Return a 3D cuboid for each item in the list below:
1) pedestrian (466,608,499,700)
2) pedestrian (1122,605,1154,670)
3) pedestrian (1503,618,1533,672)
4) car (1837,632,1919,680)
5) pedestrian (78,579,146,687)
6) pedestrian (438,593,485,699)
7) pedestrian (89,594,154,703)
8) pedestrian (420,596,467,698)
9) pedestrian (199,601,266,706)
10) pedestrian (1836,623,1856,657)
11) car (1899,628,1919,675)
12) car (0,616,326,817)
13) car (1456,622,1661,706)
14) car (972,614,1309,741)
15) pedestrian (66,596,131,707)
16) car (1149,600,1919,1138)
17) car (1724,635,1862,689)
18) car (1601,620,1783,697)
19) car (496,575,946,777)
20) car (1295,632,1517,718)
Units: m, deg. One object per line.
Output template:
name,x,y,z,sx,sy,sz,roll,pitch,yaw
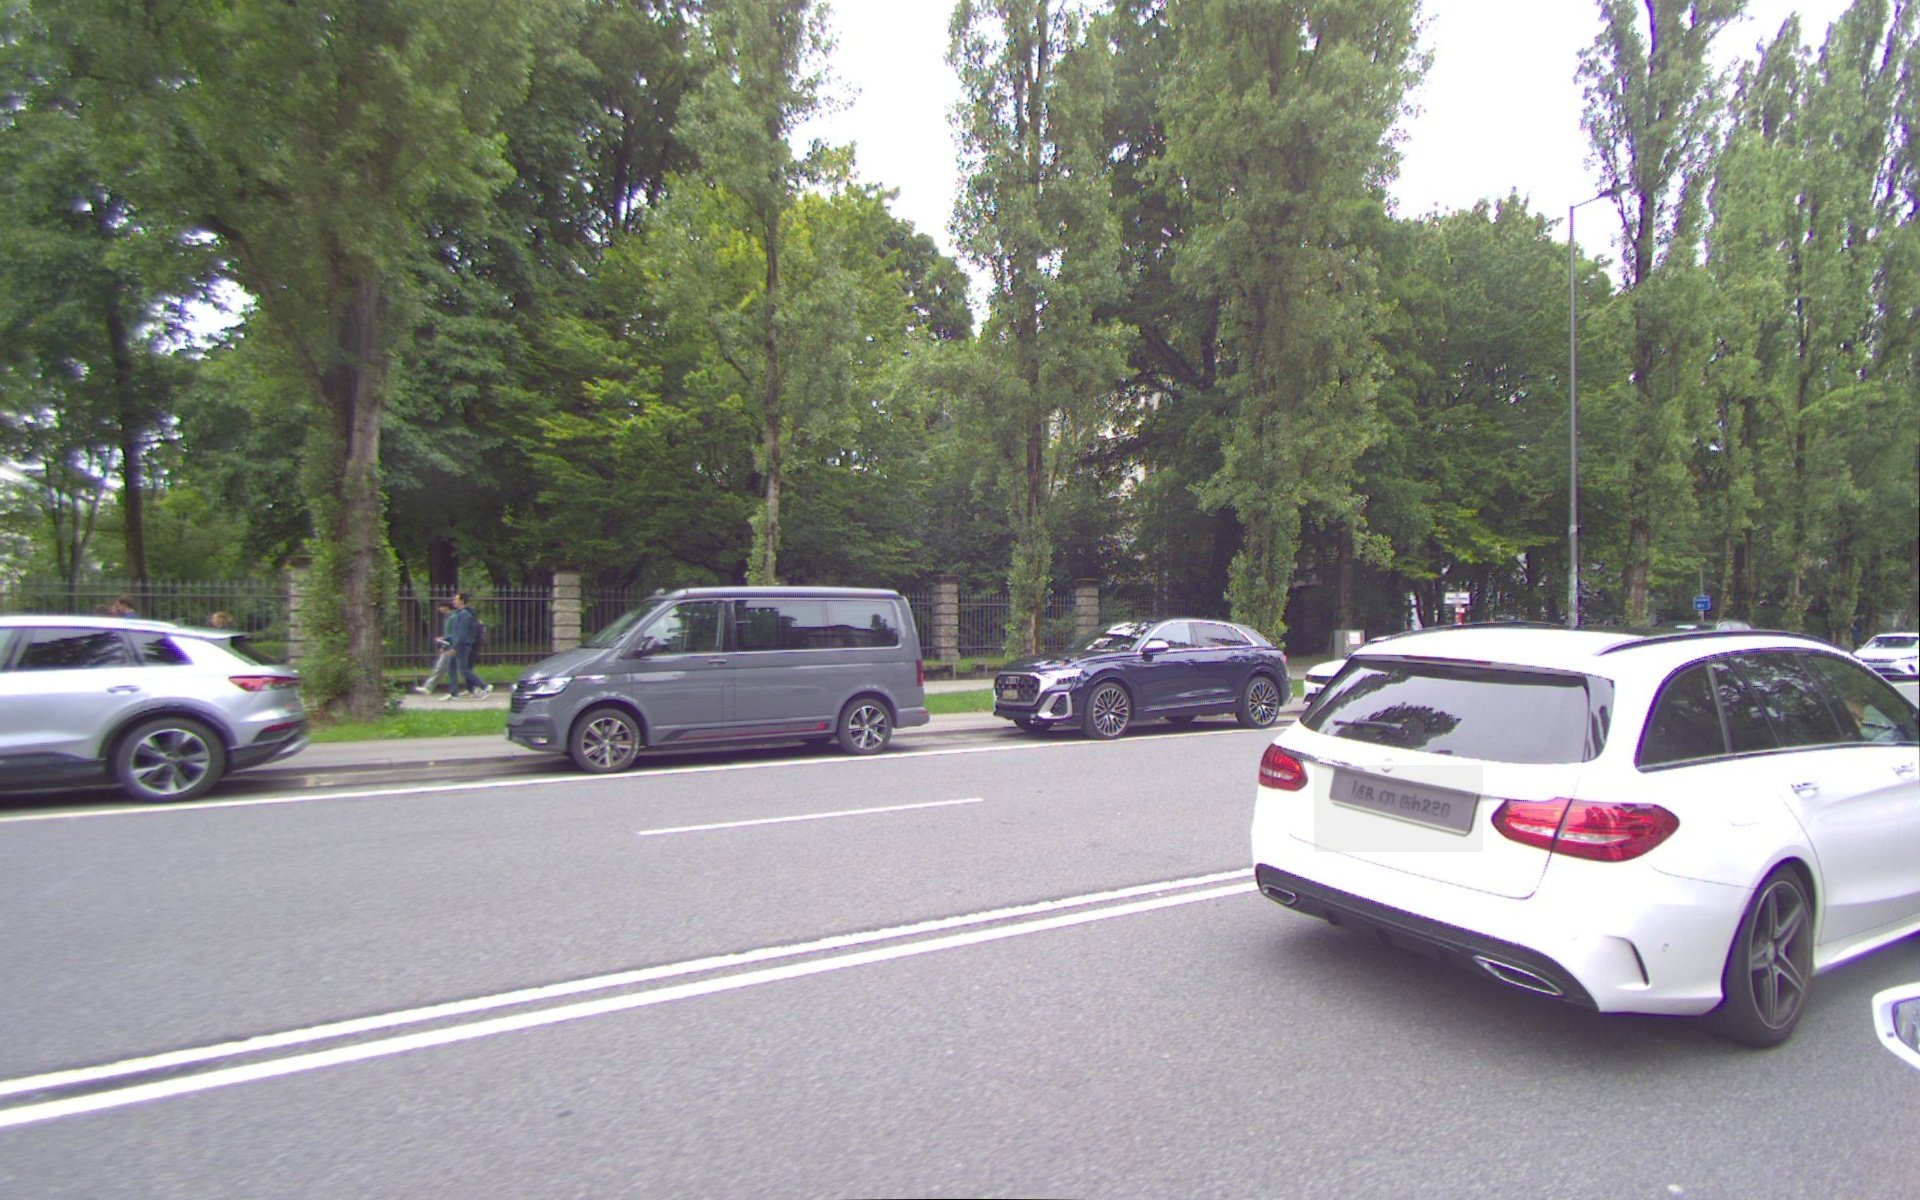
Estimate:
pedestrian,-9.020,1.011,18.962,0.541,1.697,0.583,1,-1,-28
pedestrian,4.960,1.032,27.981,0.665,1.771,0.546,1,0,-31
pedestrian,19.374,1.546,34.877,0.766,1.839,0.637,1,-1,-31
car,29.481,1.744,31.638,3.960,1.431,1.677,1,-3,-32
pedestrian,-14.138,0.543,16.762,0.724,1.745,0.664,0,-1,-29
pedestrian,-9.020,0.825,18.181,0.714,1.884,0.506,1,0,-30
pedestrian,-13.622,0.775,16.330,0.714,1.730,0.506,1,0,-30
pedestrian,-9.819,0.880,19.084,0.748,1.879,0.743,1,0,-30
pedestrian,-11.739,0.845,16.235,0.782,1.639,0.706,1,-1,-30
pedestrian,47.218,2.134,53.529,0.633,1.762,0.597,1,-1,-30
car,33.397,1.704,33.894,4.079,1.538,1.731,1,-3,-36
car,-8.322,0.963,8.791,4.601,1.605,1.881,1,-2,-31
car,12.682,1.296,21.233,4.408,1.609,1.778,1,-3,-30
car,2.771,1.085,14.983,4.995,1.629,1.807,1,-4,-31
pedestrian,-13.500,0.790,15.757,0.665,1.691,0.546,1,0,-30
car,3.222,0.781,4.710,4.529,1.474,1.817,1,0,-31
car,22.401,1.632,26.987,3.981,1.321,1.573,1,-3,-30
car,17.549,1.358,24.021,4.665,1.680,1.870,1,-4,-32
car,-2.762,0.809,11.982,4.880,1.982,1.984,1,-3,-31
car,8.324,1.340,18.675,4.189,1.440,1.668,1,-3,-31
